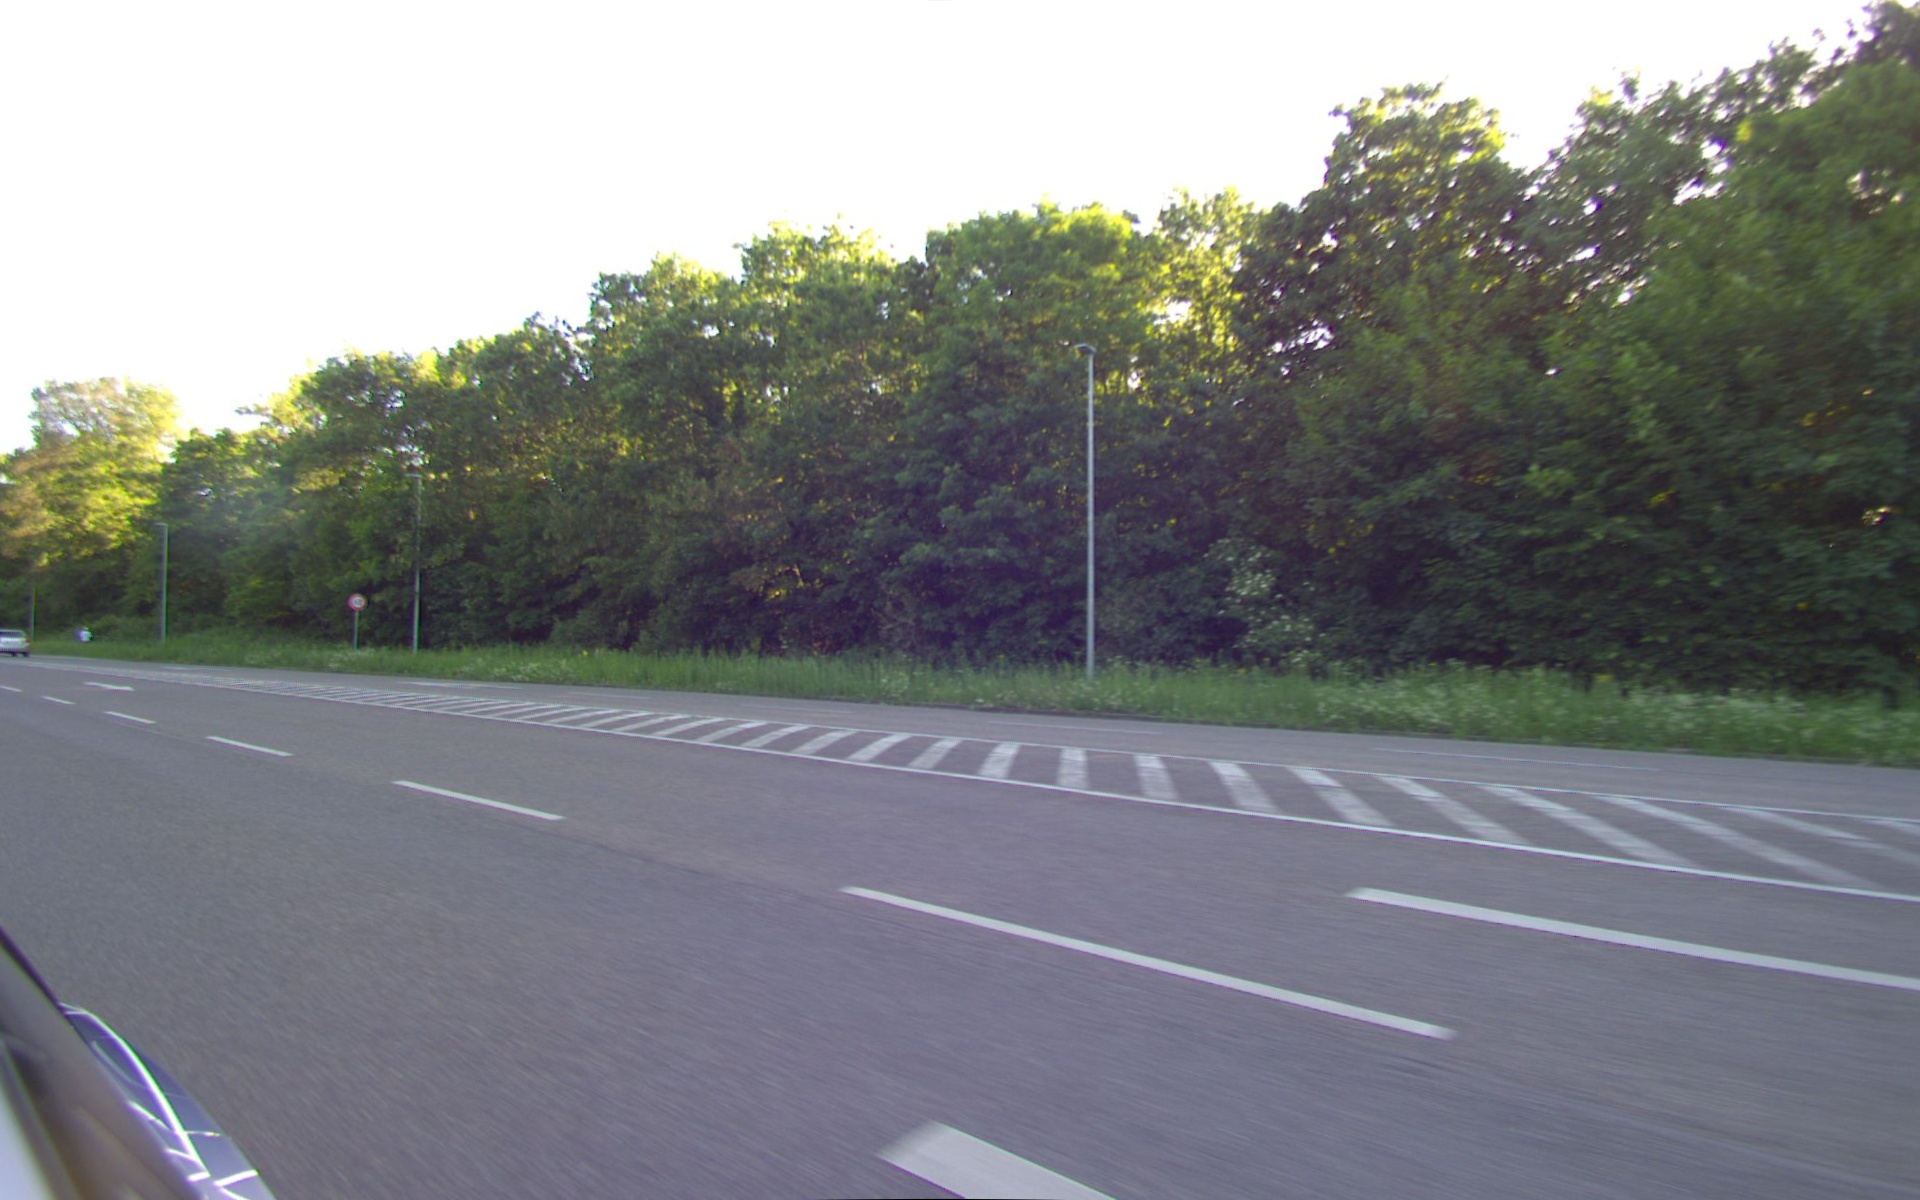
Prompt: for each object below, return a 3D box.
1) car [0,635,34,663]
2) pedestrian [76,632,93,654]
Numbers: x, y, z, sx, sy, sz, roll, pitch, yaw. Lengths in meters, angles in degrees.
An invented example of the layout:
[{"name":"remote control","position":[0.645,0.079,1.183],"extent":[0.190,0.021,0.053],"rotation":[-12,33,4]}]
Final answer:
[{"name":"car","position":[-52.965,2.673,55.797],"extent":[4.470,1.466,1.812],"rotation":[-1,-5,35]},{"name":"pedestrian","position":[-63.433,3.142,73.328],"extent":[0.825,1.577,0.704],"rotation":[-2,-4,40]}]
